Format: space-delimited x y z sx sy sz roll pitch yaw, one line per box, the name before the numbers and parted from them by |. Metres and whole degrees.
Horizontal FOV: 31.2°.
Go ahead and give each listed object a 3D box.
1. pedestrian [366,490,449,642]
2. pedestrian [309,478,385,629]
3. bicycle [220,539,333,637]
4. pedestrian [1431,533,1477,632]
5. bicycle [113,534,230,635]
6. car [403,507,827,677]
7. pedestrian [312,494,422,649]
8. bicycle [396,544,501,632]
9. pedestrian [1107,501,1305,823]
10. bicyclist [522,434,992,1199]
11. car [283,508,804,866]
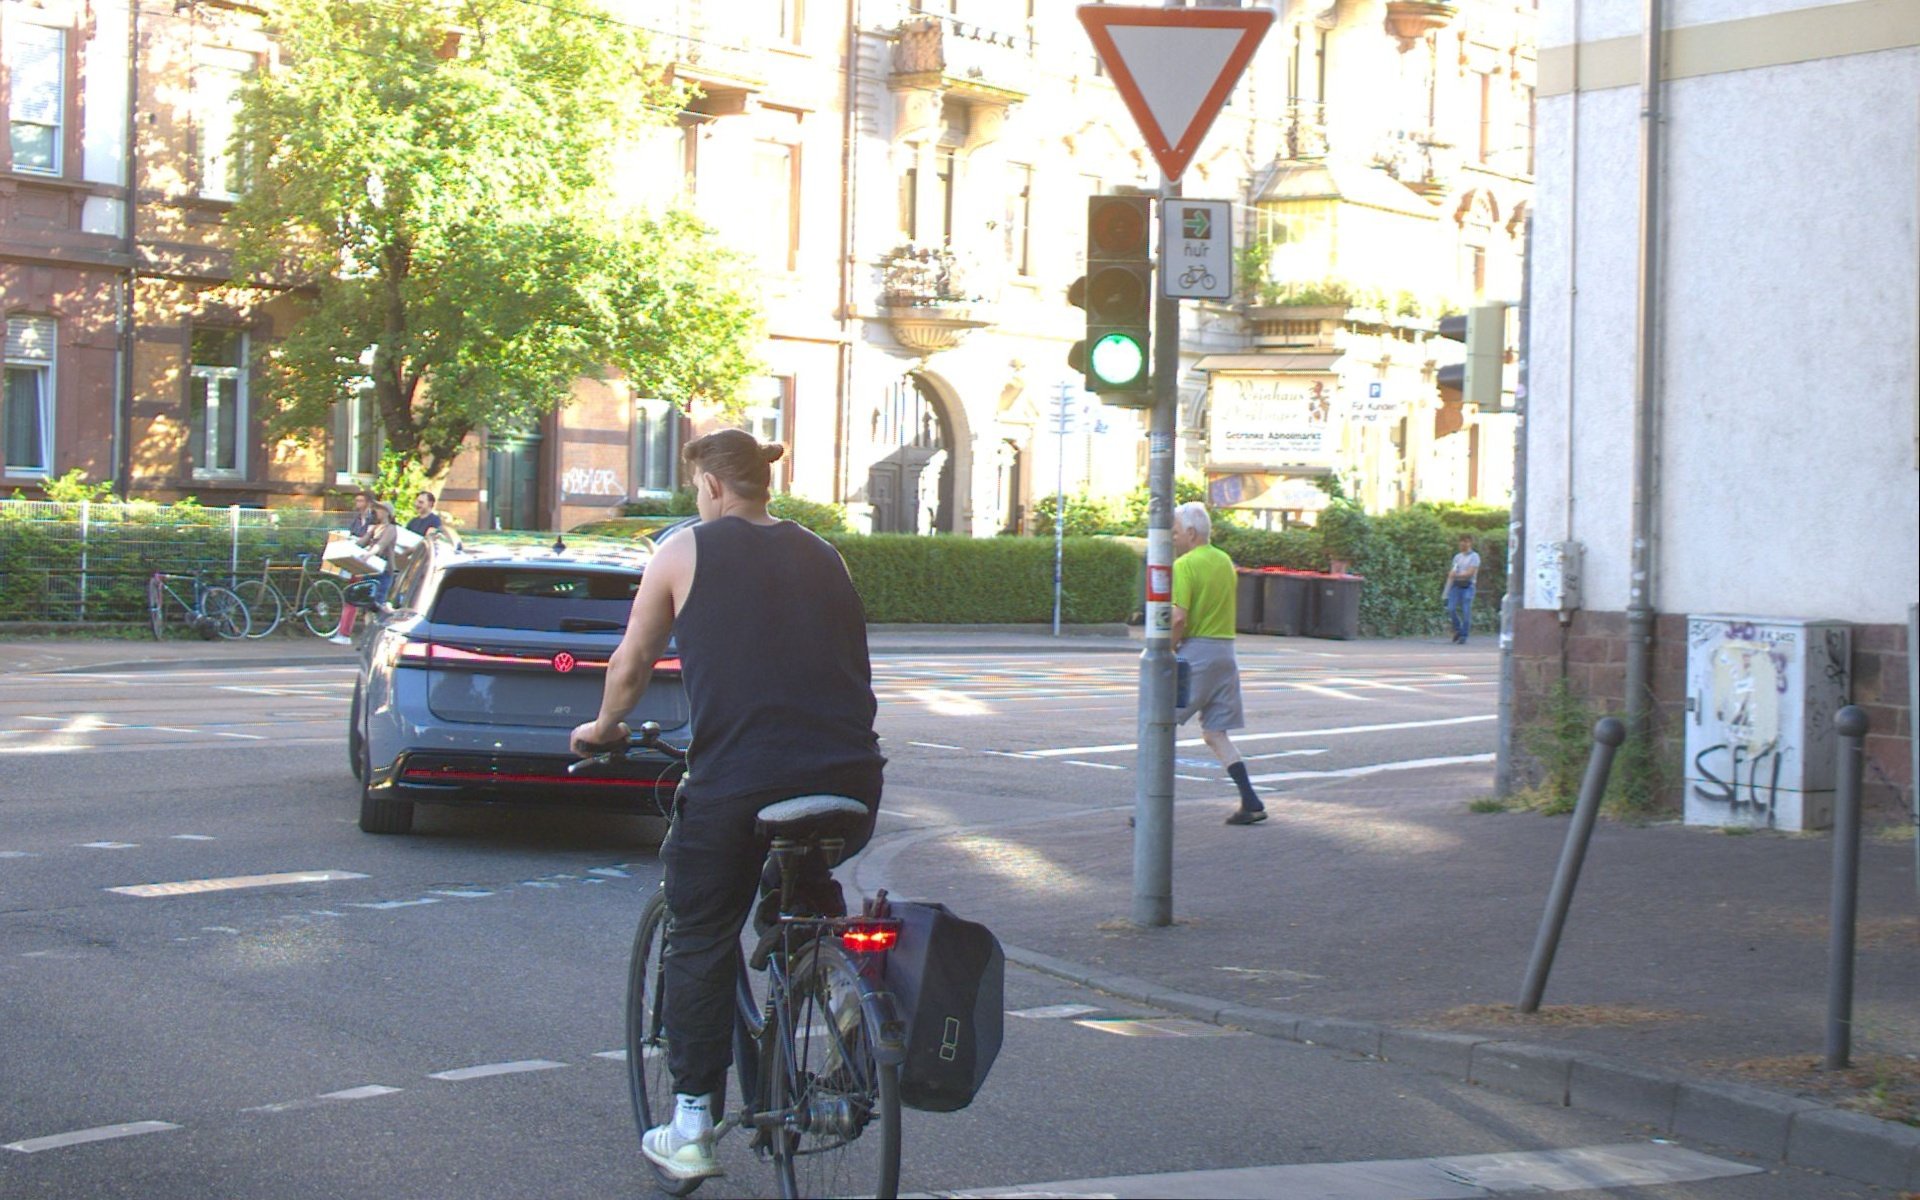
pedestrian | -6.301 -0.390 39.187 0.634 1.709 0.663 1 1 -40
pedestrian | -7.041 -0.538 39.500 0.634 1.709 0.521 1 1 -40
bicycle | -7.884 -0.134 39.677 0.443 1.103 1.230 4 2 42
pedestrian | 8.308 -0.296 57.850 0.494 1.635 0.526 1 1 -42
bicycle | -8.858 -0.177 38.641 0.443 1.103 1.230 4 2 42
car | -3.560 -0.094 36.212 1.946 1.644 4.401 2 1 37
pedestrian | -6.568 -0.314 38.064 0.895 1.659 0.712 1 4 -36
bicycle | -6.196 -0.139 41.655 0.443 1.035 1.230 3 2 41
pedestrian | 1.360 0.324 19.041 0.643 1.721 0.888 -2 2 -36
bicyclist | -0.454 0.492 7.314 0.686 1.650 0.990 0 1 -24
car | -2.368 0.369 18.374 1.969 1.580 4.476 4 0 -16
